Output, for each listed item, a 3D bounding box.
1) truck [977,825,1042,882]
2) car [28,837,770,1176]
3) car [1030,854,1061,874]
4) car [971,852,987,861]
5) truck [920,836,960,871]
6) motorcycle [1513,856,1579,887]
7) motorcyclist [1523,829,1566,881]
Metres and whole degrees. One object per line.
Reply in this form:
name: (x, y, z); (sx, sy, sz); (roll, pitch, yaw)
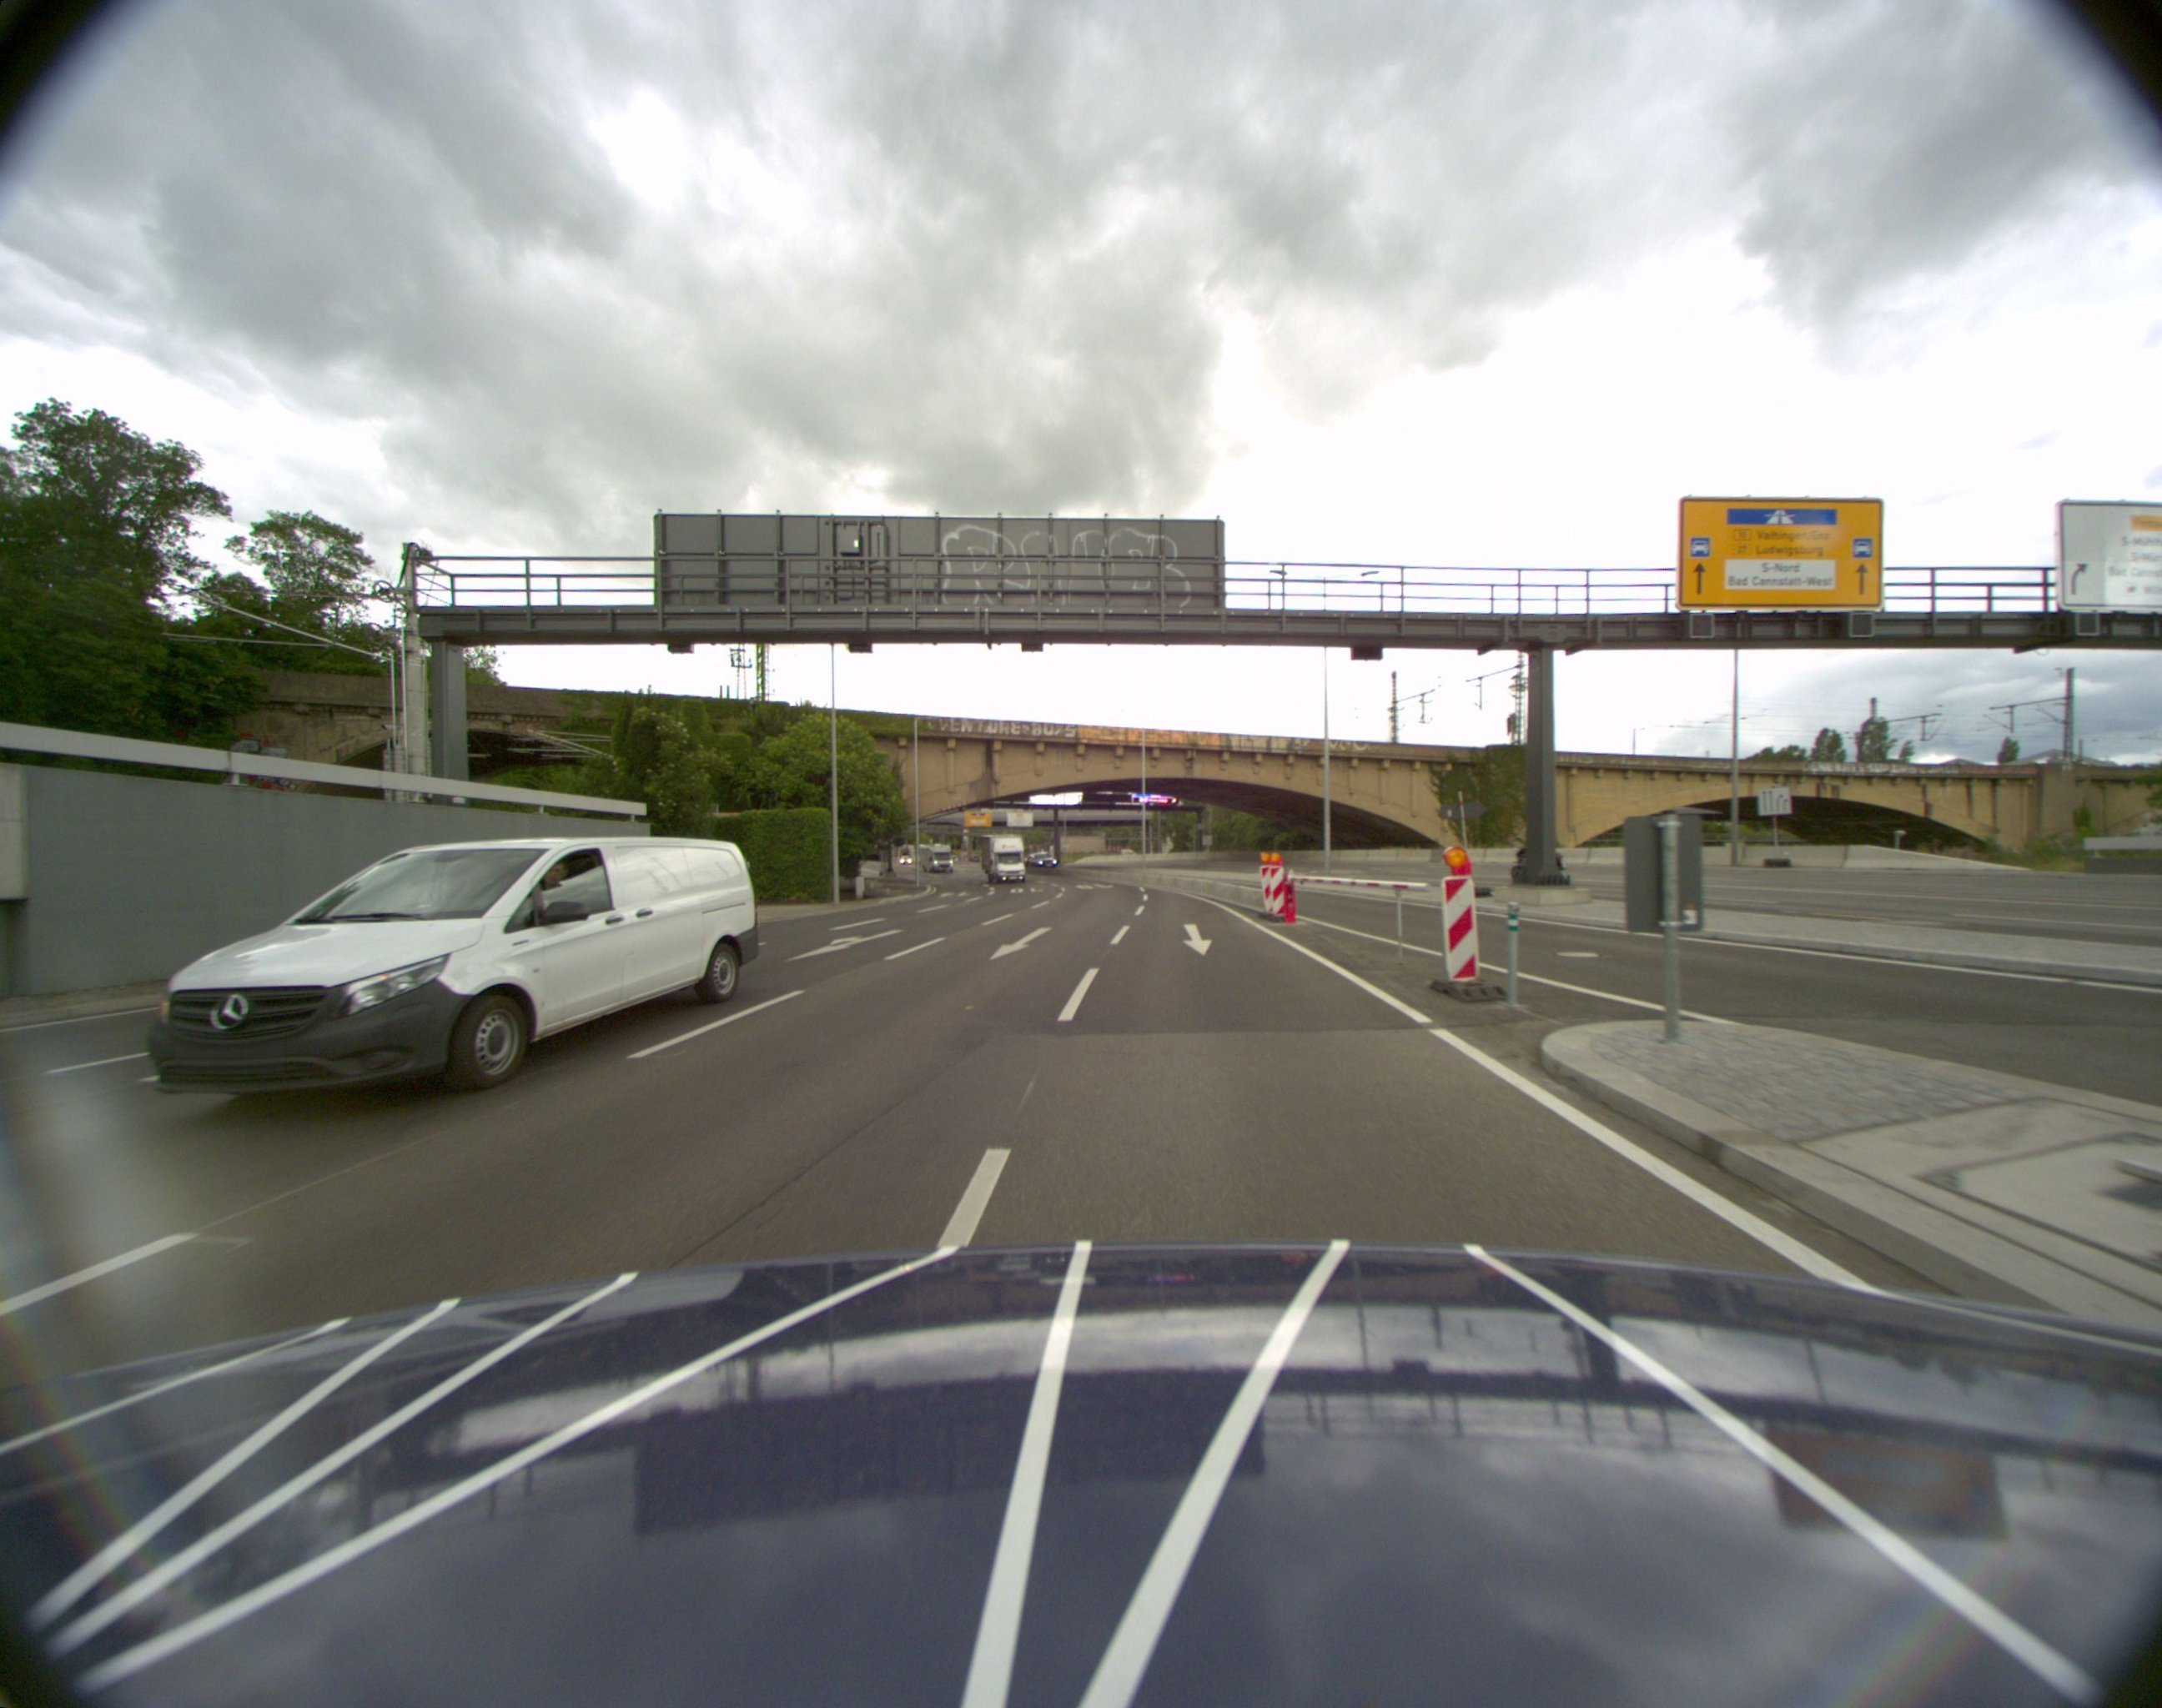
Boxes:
truck: (-5.264, -0.038, 54.108); (3.035, 3.567, 8.939); (-5, 1, -14)
car: (-5.139, 0.897, 7.122); (1.998, 1.978, 5.200); (-2, 1, 3)
car: (-3.353, 0.916, 70.998); (1.870, 1.827, 4.199); (-2, 0, -17)
car: (-18.865, 0.511, 140.275); (1.825, 1.528, 4.392); (-3, 1, -21)
truck: (-15.440, -0.013, 82.648); (2.578, 3.548, 9.098); (-2, 1, -21)
motorcycle: (14.972, 0.546, 24.535); (0.666, 0.911, 2.394); (-2, 0, 1)
motorcyclist: (14.951, 0.034, 24.520); (0.666, 1.596, 1.103); (-2, 0, 1)
